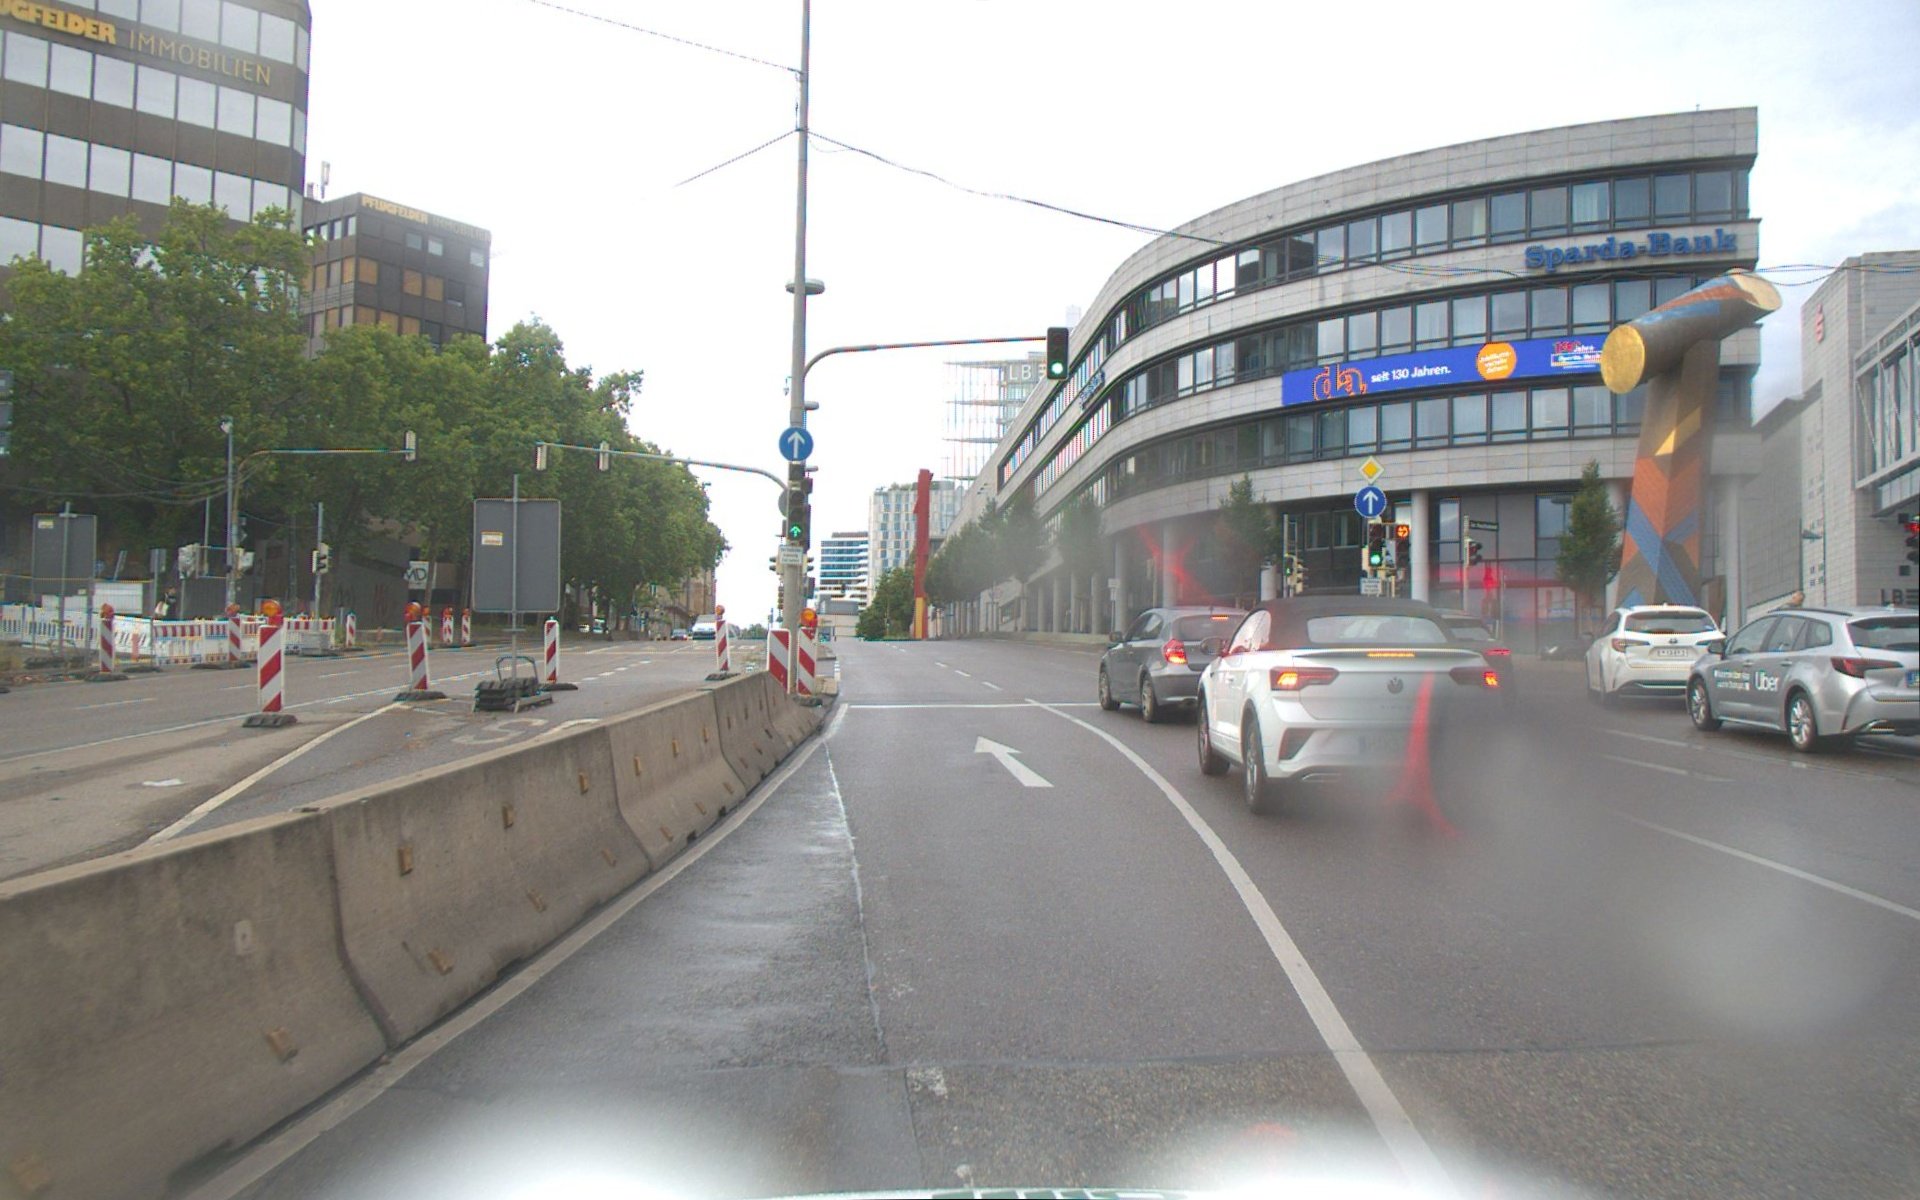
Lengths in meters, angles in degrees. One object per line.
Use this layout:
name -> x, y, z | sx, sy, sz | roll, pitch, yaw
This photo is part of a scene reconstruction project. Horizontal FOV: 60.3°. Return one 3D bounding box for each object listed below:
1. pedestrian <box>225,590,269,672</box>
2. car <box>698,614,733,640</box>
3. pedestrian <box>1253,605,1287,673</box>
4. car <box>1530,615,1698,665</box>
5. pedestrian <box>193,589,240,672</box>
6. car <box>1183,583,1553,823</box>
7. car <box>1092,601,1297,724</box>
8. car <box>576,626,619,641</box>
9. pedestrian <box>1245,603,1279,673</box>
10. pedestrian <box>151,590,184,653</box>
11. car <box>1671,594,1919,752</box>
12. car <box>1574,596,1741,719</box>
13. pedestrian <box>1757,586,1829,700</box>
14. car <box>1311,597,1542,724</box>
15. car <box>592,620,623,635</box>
pedestrian -> -17.012, 0.753, 39.472 | 0.658, 1.935, 0.775 | 1, -3, -2
car -> -14.248, 1.550, 96.636 | 1.727, 1.486, 4.355 | -1, 0, -5
pedestrian -> 8.969, 1.129, 47.869 | 0.823, 1.938, 0.732 | -1, -2, 21
car -> 20.518, 1.263, 52.057 | 4.599, 1.467, 1.868 | 1, -3, 7
pedestrian -> -17.739, 0.739, 39.463 | 0.745, 1.956, 0.742 | 1, -3, -2
car -> 2.997, 0.701, 13.098 | 1.923, 1.576, 4.218 | 0, -1, 0
car -> 2.974, 0.776, 21.816 | 1.706, 1.468, 3.994 | 1, -1, -7
car -> -38.755, 3.577, 176.699 | 1.787, 1.537, 4.564 | -3, -3, 33
pedestrian -> 8.574, 1.085, 46.945 | 0.823, 1.938, 0.861 | -1, -3, 21
pedestrian -> -24.556, 0.683, 51.234 | 0.728, 1.913, 0.744 | 1, -3, -14
car -> 9.360, 0.725, 17.787 | 1.665, 1.476, 4.617 | 1, -1, 3
car -> 10.345, 0.801, 24.827 | 1.734, 1.663, 4.584 | 0, -1, 16
pedestrian -> 16.085, 0.820, 31.944 | 0.842, 2.135, 0.896 | 3, -1, -27
car -> 5.926, 0.773, 21.519 | 1.719, 1.432, 4.226 | 2, -2, -1
car -> -43.367, 3.413, 203.448 | 3.560, 1.730, 1.822 | -1, -3, -8
